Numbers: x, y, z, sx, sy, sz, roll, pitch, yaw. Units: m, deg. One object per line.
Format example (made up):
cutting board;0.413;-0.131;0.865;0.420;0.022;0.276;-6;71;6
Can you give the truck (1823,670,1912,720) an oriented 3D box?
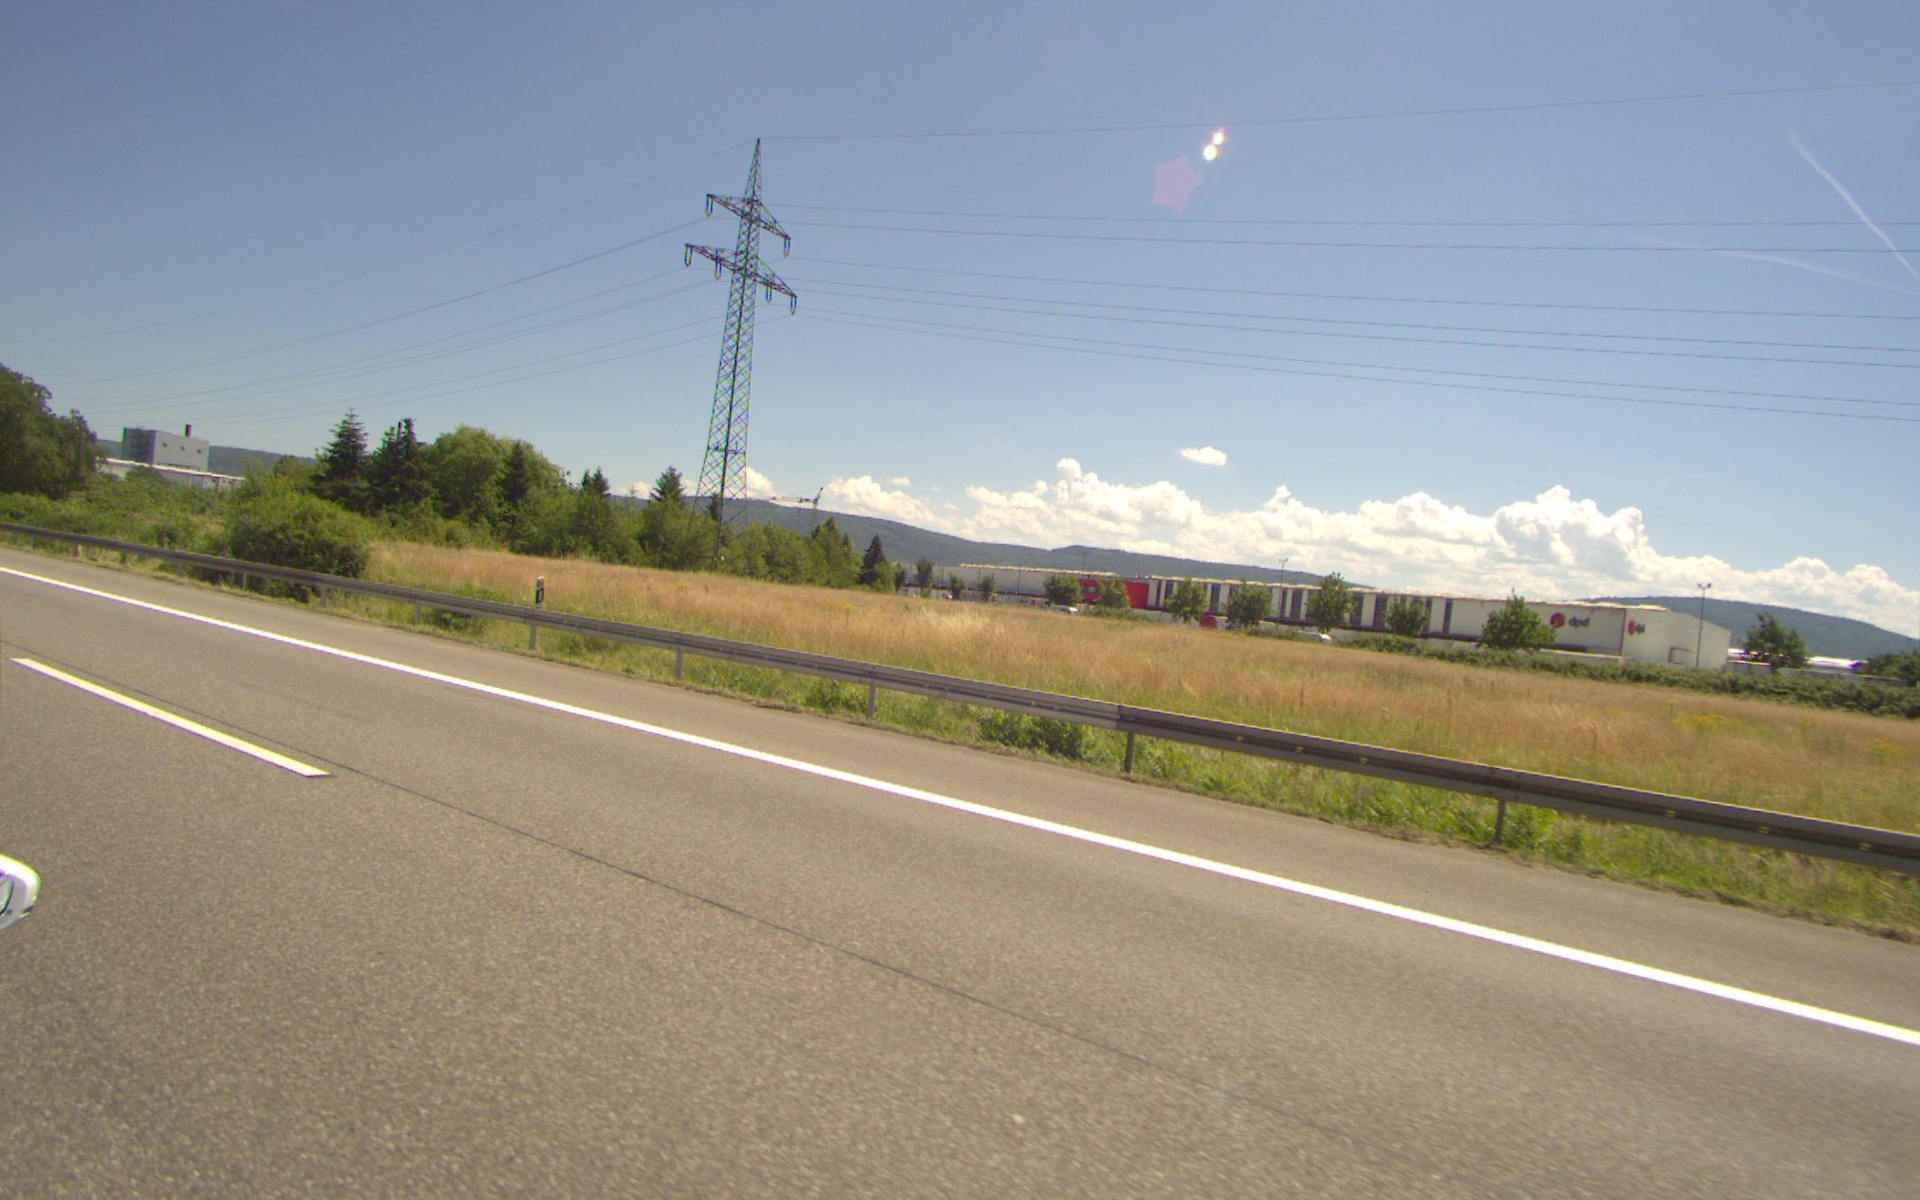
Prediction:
truck;74.641;7.723;82.963;2.779;3.455;8.163;6;1;25

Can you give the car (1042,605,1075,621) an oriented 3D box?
car;15.750;2.049;161.229;1.984;2.037;5.212;8;-2;-37

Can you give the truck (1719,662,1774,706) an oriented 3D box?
truck;70.221;7.408;89.963;2.783;3.455;8.150;7;1;32

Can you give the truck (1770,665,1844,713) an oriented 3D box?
truck;72.312;7.534;86.044;2.780;3.455;8.159;7;1;28

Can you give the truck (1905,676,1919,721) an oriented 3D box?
truck;77.197;7.915;79.166;2.786;3.455;8.142;7;1;36
